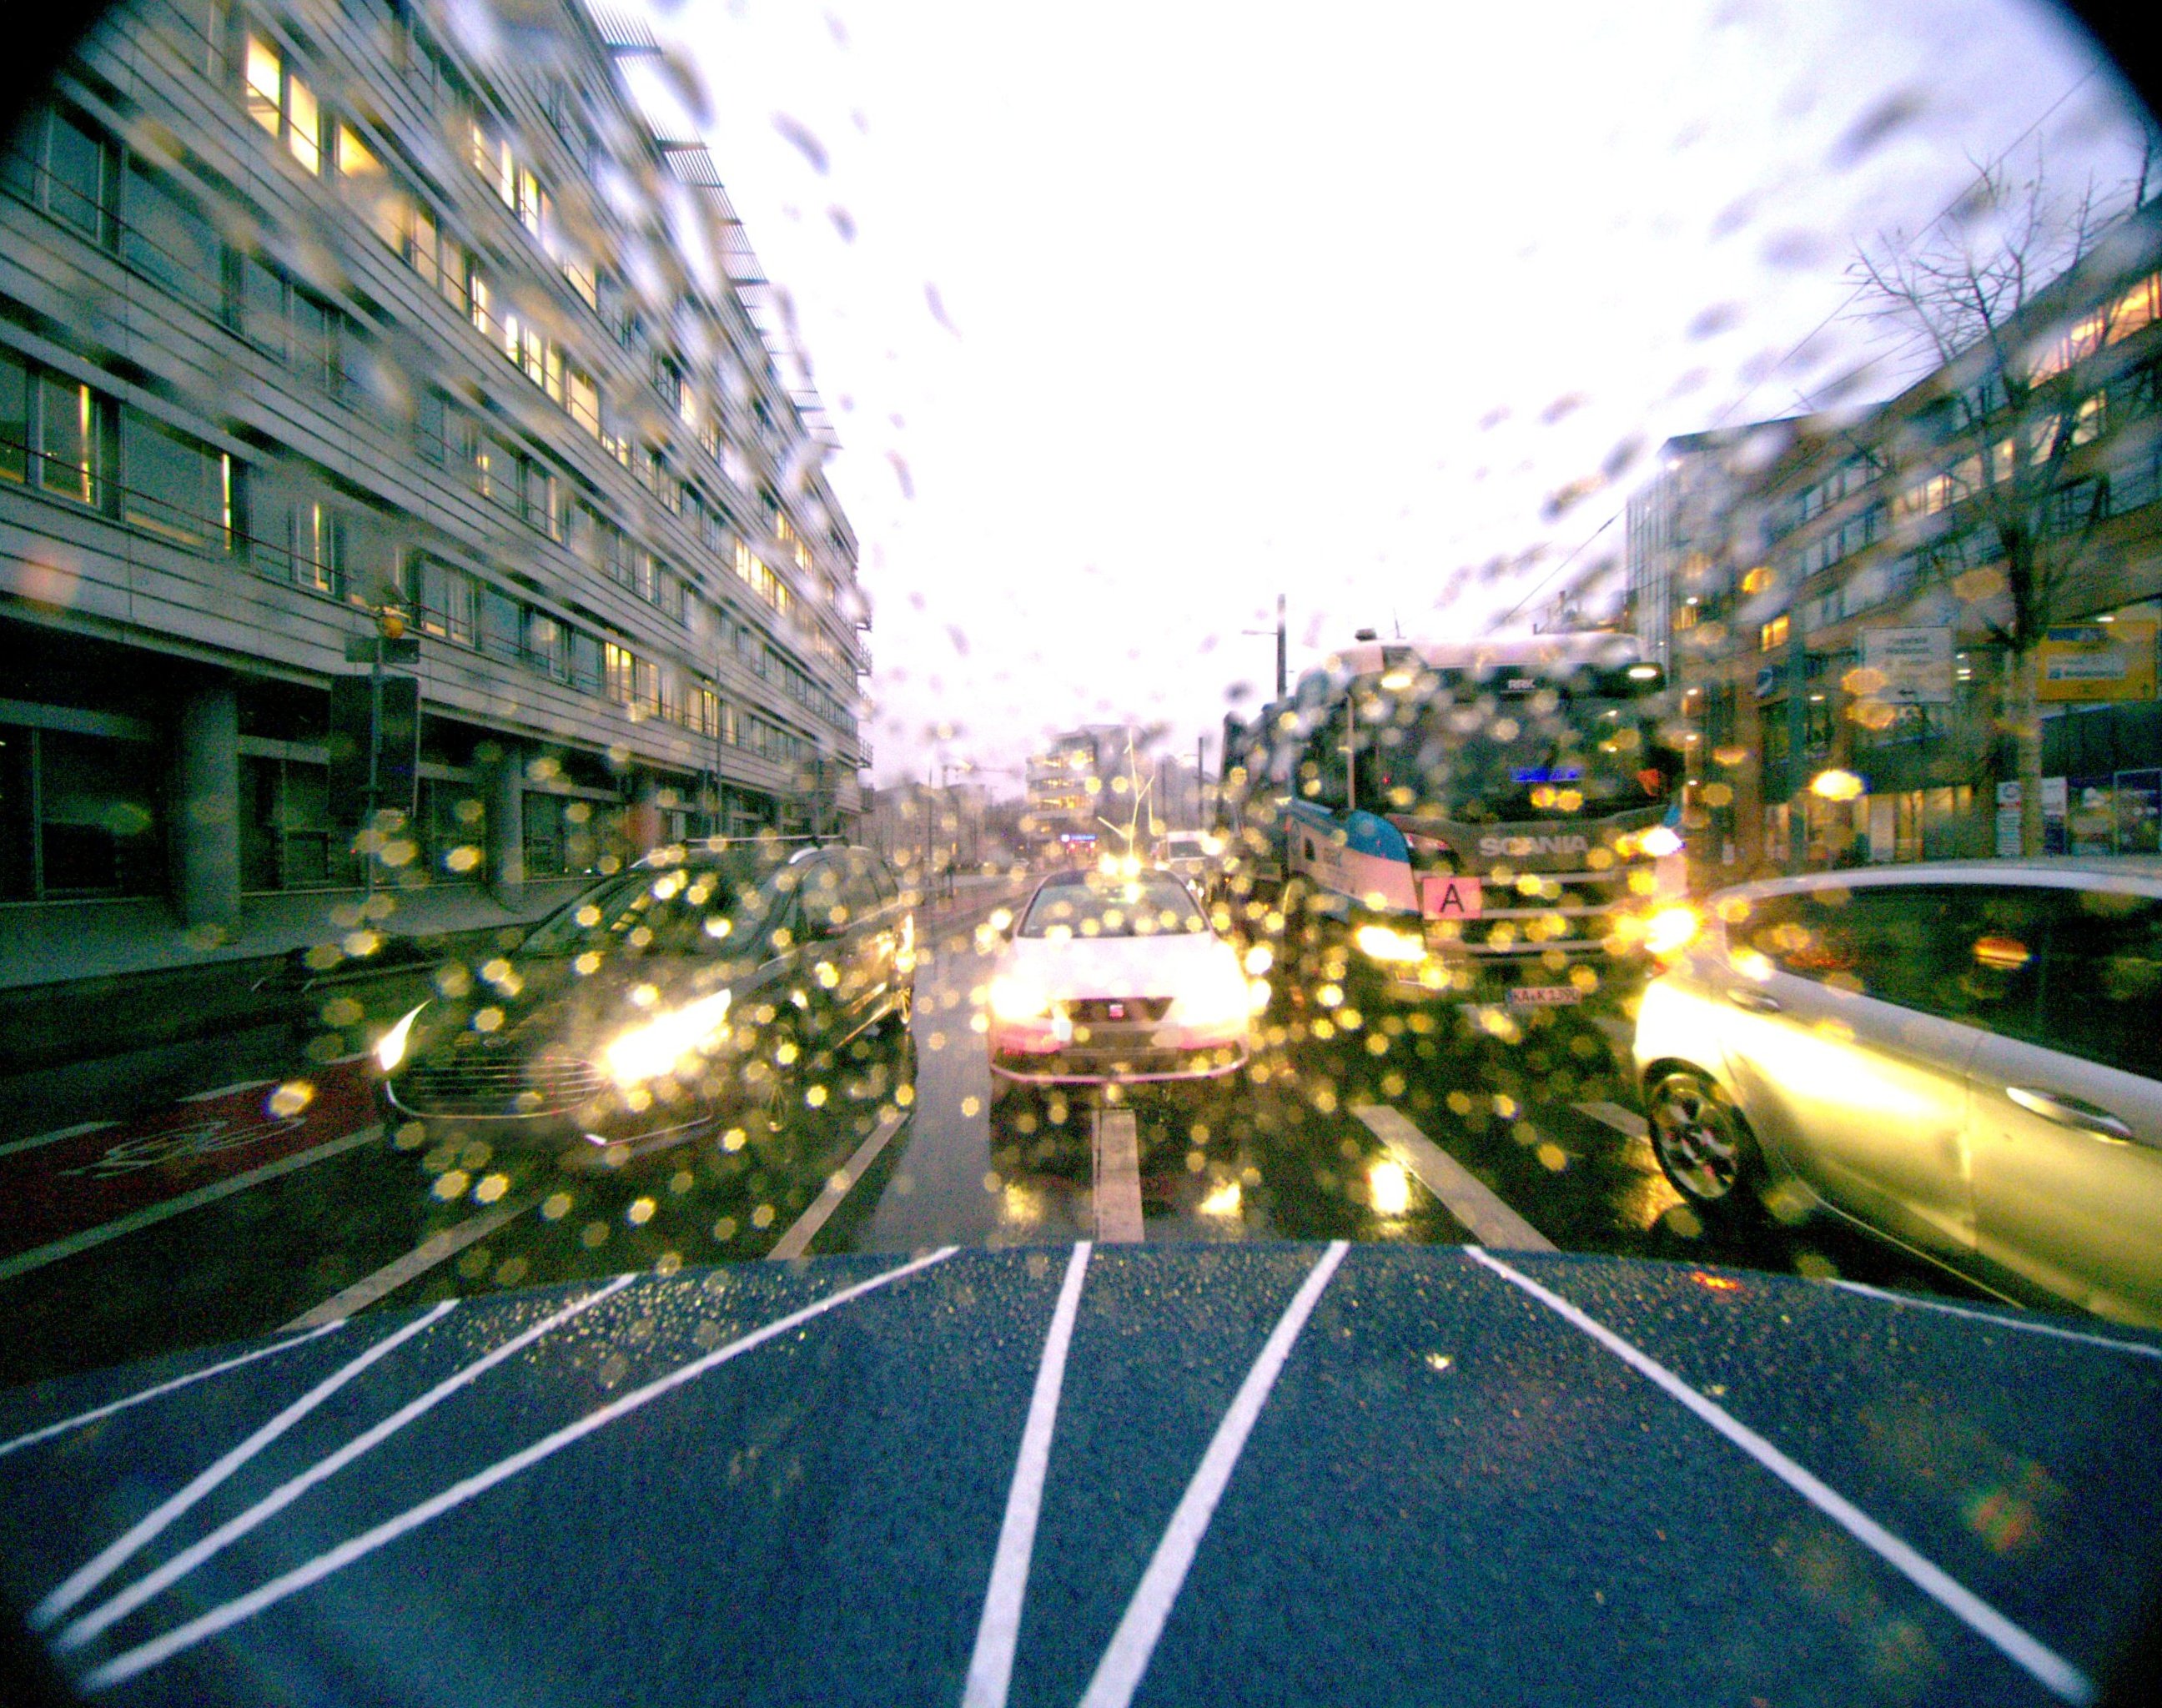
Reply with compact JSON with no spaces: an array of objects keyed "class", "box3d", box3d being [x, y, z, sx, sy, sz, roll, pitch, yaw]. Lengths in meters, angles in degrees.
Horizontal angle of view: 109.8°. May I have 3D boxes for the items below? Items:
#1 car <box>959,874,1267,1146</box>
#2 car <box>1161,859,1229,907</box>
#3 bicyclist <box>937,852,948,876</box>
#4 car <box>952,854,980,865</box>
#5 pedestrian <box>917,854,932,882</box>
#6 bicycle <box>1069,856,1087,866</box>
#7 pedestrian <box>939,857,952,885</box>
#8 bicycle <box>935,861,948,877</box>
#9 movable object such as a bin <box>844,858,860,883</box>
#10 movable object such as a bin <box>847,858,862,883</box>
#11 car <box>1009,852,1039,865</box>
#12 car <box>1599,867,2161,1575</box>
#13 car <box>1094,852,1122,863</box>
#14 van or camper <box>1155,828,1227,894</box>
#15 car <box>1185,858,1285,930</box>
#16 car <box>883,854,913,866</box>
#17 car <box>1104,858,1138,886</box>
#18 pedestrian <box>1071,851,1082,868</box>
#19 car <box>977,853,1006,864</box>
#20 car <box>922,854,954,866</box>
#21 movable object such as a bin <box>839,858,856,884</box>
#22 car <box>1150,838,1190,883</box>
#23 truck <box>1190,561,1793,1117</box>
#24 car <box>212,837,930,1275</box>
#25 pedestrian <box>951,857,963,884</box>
[{"class":"car","box3d":[0.212,0.972,6.419,1.782,1.464,3.943,-1,0,1]},{"class":"car","box3d":[3.564,0.870,24.347,1.759,1.337,4.057,-1,0,3]},{"class":"bicyclist","box3d":[-10.219,0.746,56.099,0.671,1.787,0.806,0,1,-3]},{"class":"car","box3d":[-16.945,0.813,112.049,3.759,1.528,1.782,0,0,17]},{"class":"pedestrian","box3d":[-9.844,0.878,47.796,0.747,1.692,0.969,2,1,-3]},{"class":"bicycle","box3d":[-0.408,0.895,94.458,2.204,1.182,0.668,0,1,2]},{"class":"pedestrian","box3d":[-8.443,1.058,47.232,0.651,1.692,0.884,1,1,-3]},{"class":"bicycle","box3d":[-10.243,1.093,55.944,0.681,1.191,1.760,0,1,-3]},{"class":"movable object such as a bin","box3d":[-13.266,0.969,44.105,0.666,1.420,0.840,-1,1,-2]},{"class":"movable object such as a bin","box3d":[-13.430,0.974,45.035,0.666,1.468,0.840,-1,1,-2]},{"class":"car","box3d":[-8.156,0.630,109.316,3.918,1.699,1.782,-1,1,15]},{"class":"car","box3d":[3.217,0.847,1.521,1.709,1.439,4.000,-2,1,2]},{"class":"car","box3d":[4.248,0.553,119.961,3.991,1.759,1.815,-1,0,20]},{"class":"van or camper","box3d":[4.507,0.255,32.080,2.153,2.517,5.898,-1,0,0]},{"class":"car","box3d":[3.621,0.872,18.484,1.634,1.515,3.941,-1,0,0]},{"class":"car","box3d":[-27.862,0.933,115.896,3.996,1.663,2.002,-1,0,17]},{"class":"car","box3d":[2.767,1.225,53.997,2.169,1.744,4.540,0,2,0]},{"class":"pedestrian","box3d":[-0.543,0.626,89.840,1.118,2.002,1.034,0,1,15]},{"class":"car","box3d":[-13.041,0.658,110.509,3.759,1.528,1.782,0,0,17]},{"class":"car","box3d":[-21.382,0.913,113.668,4.368,1.750,2.002,-1,0,17]},{"class":"movable object such as a bin","box3d":[-13.270,0.955,43.208,0.666,1.420,0.840,-1,1,-2]},{"class":"car","box3d":[6.066,0.416,52.215,2.129,2.847,5.813,-1,0,1]},{"class":"truck","box3d":[3.242,-0.108,8.746,2.846,3.612,7.526,-1,0,0]},{"class":"car","box3d":[-2.623,0.856,5.538,1.887,1.800,4.671,-2,0,2]},{"class":"pedestrian","box3d":[-7.737,1.032,47.369,0.616,1.659,0.884,1,1,-3]}]
